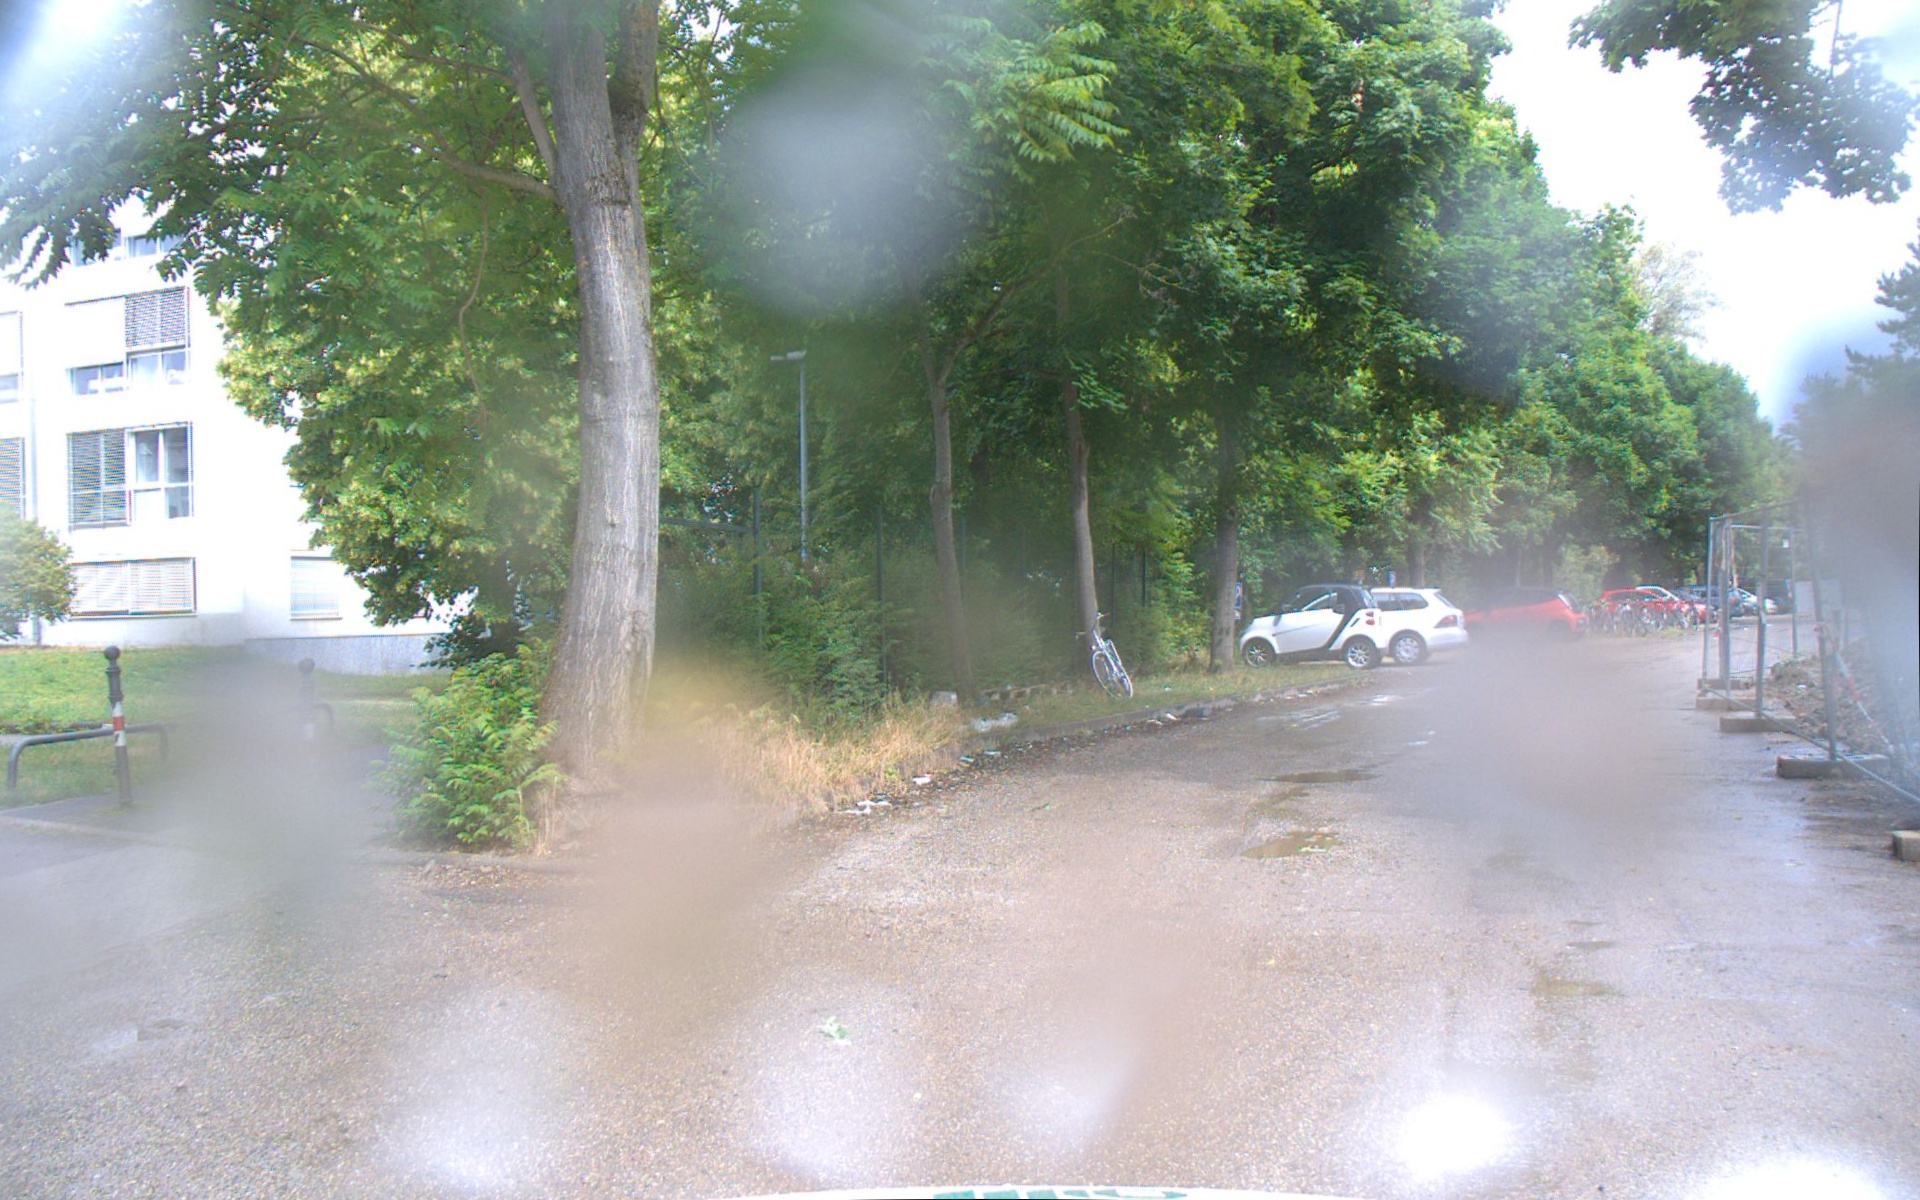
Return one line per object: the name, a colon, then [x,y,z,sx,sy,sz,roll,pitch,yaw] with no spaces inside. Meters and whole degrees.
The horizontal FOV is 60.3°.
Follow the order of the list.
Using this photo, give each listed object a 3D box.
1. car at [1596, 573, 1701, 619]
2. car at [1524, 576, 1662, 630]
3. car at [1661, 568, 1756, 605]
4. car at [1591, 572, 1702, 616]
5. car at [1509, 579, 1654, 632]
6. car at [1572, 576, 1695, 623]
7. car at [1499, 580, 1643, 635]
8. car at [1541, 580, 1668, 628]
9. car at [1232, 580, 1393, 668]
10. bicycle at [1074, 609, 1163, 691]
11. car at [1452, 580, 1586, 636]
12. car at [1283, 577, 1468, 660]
car: [25.496,-0.159,61.252,3.515,1.649,1.869,0,2,24]
car: [20.548,0.073,53.694,4.027,1.679,1.845,0,2,26]
car: [33.354,-0.614,73.655,3.782,1.600,1.956,0,2,27]
car: [26.326,-0.246,63.420,3.782,1.600,1.956,0,2,27]
car: [19.234,0.144,51.211,3.914,1.522,1.990,0,2,31]
car: [23.936,-0.034,58.774,3.911,1.587,1.761,0,2,28]
car: [18.211,0.188,49.304,3.724,1.555,1.905,0,2,32]
car: [21.670,0.106,55.609,3.865,1.543,1.804,0,2,27]
car: [6.512,0.432,30.499,2.696,1.510,1.594,-1,1,19]
bicycle: [1.876,0.572,19.433,0.467,0.875,1.453,0,2,31]
car: [15.395,0.197,45.601,3.226,1.449,1.587,0,2,34]
car: [8.154,0.359,32.384,3.360,1.494,1.741,-1,1,19]
